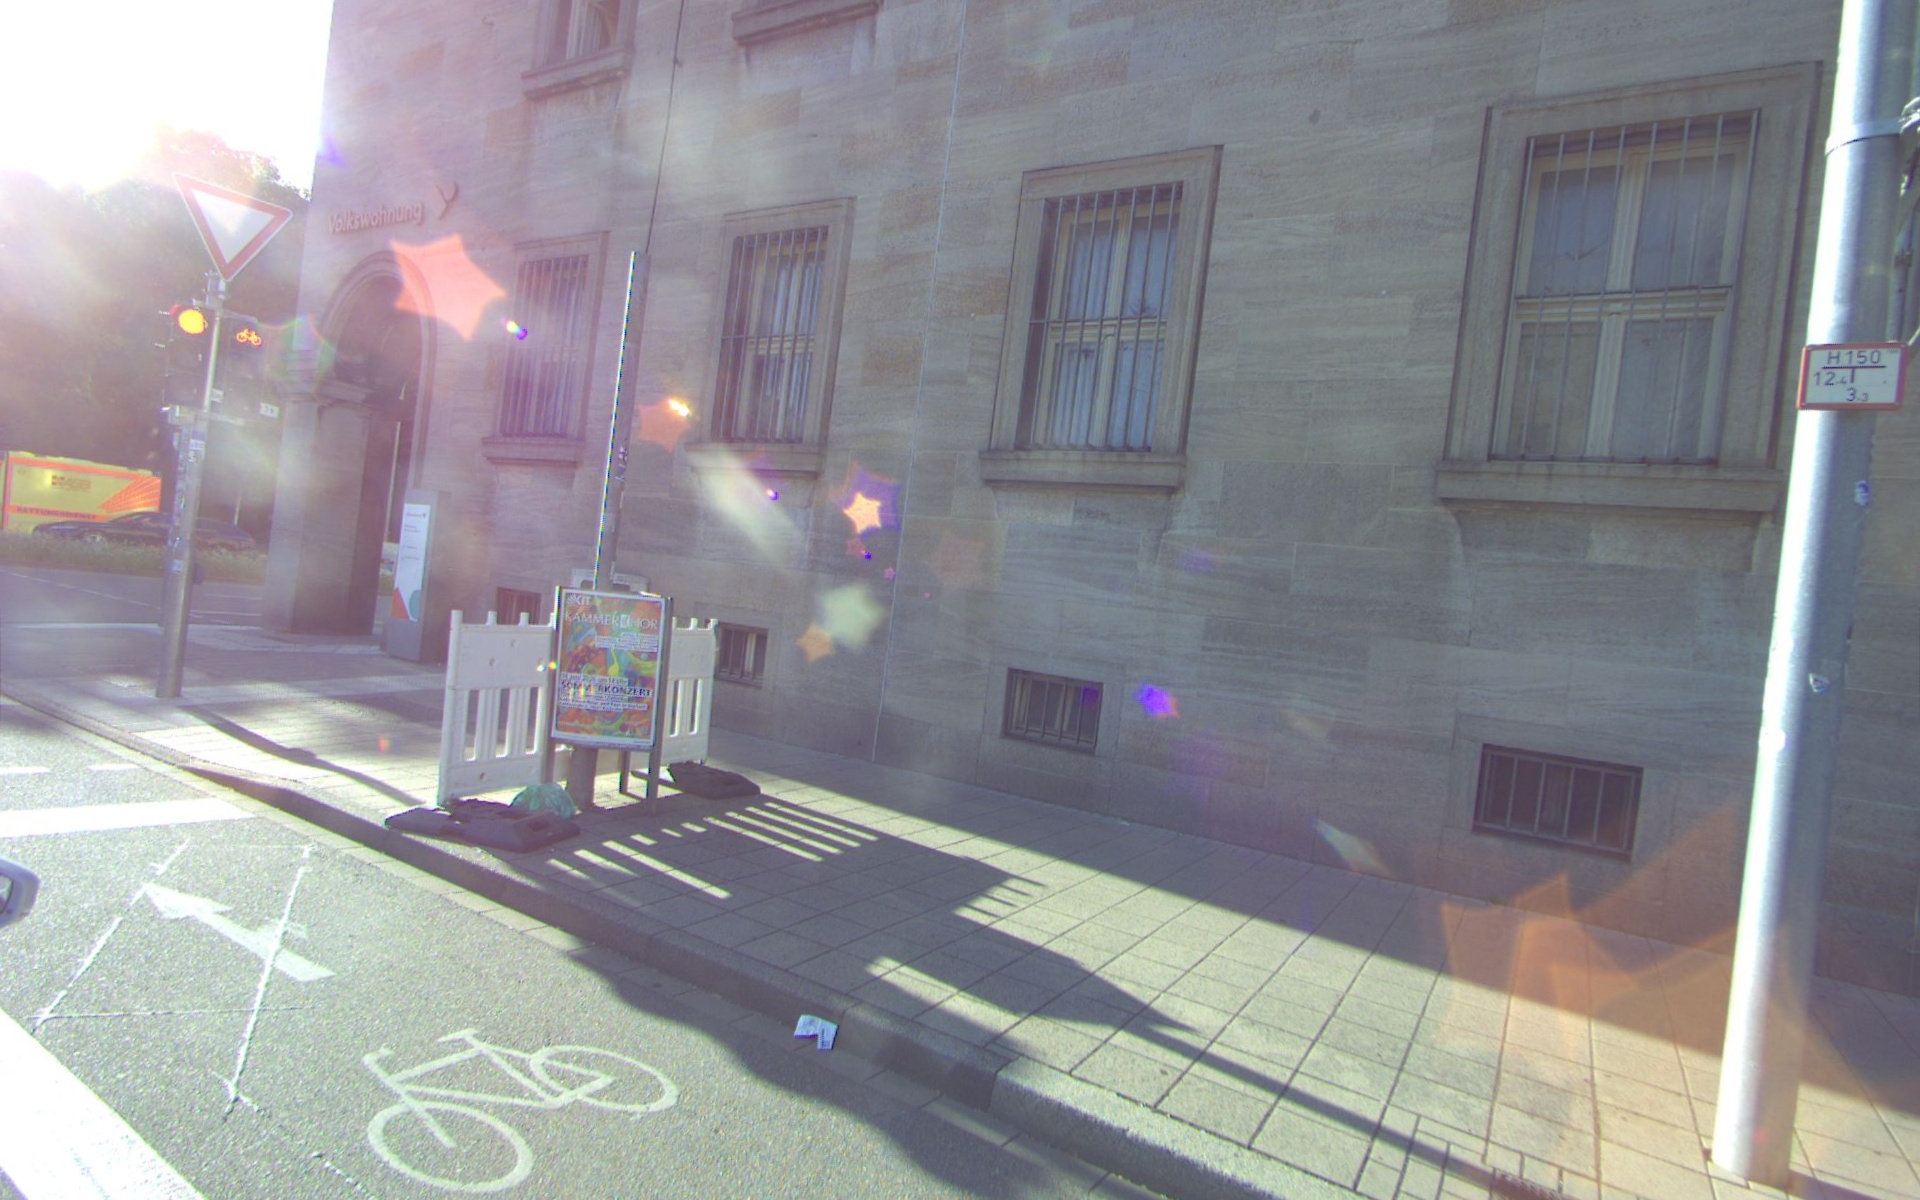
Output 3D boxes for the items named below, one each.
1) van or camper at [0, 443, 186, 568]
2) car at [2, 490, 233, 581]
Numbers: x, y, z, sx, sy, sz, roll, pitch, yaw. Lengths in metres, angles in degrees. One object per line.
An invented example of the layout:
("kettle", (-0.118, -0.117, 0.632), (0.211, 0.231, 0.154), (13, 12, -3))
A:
("van or camper", (-27.717, -2.960, 29.885), (2.866, 2.893, 6.716), (6, -3, 36))
("car", (-22.752, -1.700, 27.359), (1.857, 1.665, 4.324), (6, -3, 32))
